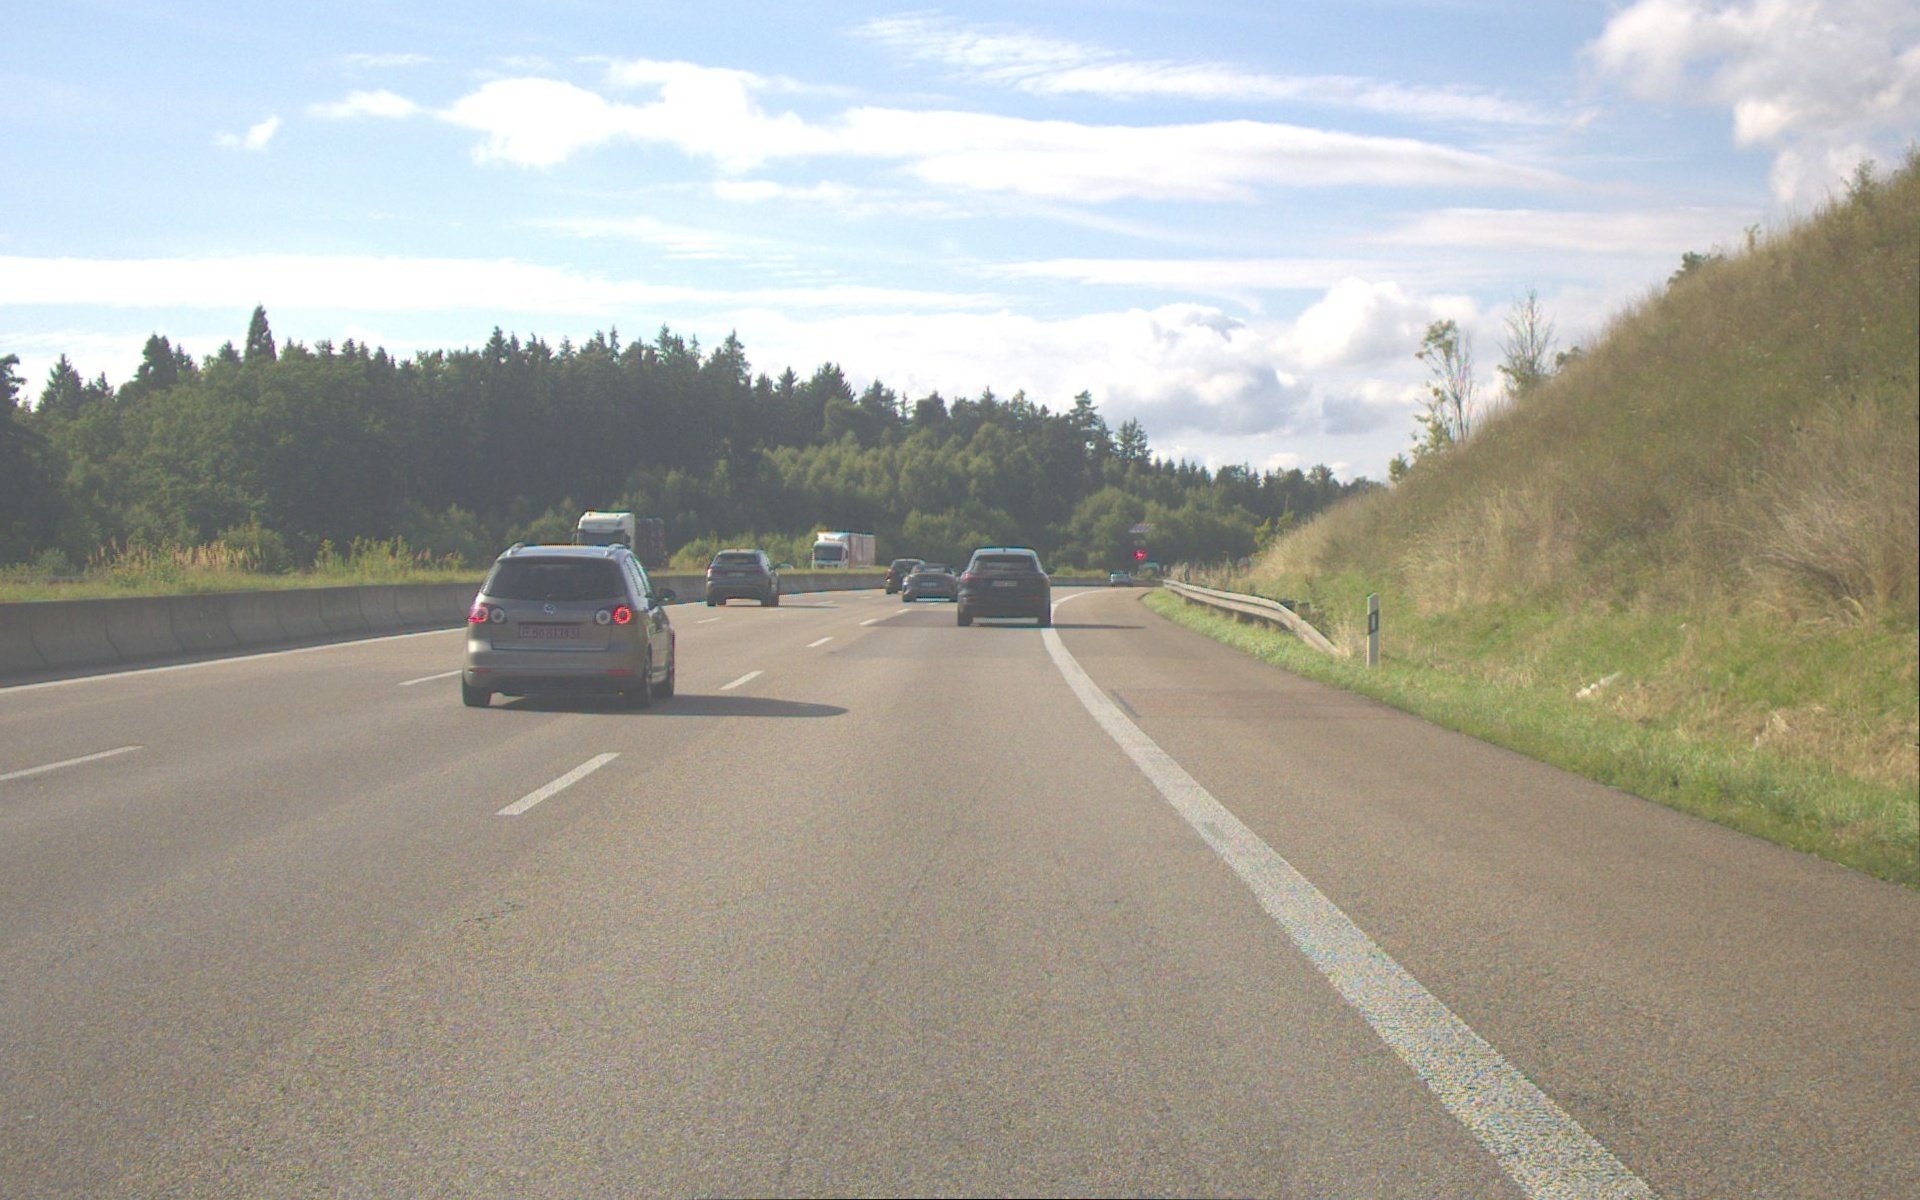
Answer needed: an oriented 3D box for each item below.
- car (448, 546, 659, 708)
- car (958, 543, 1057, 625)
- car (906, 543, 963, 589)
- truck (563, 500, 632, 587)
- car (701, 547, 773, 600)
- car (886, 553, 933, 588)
[{"bbox_3d":[-3.945,0.223,33.844,1.873,1.492,3.880,0,1,-4],"label":"car"},{"bbox_3d":[0.965,-0.354,71.885,1.873,1.669,3.890,1,1,-2],"label":"car"},{"bbox_3d":[-0.849,-1.165,116.704,1.873,1.492,3.880,1,1,0],"label":"car"},{"bbox_3d":[-18.584,-2.877,176.613,2.802,4.377,5.464,0,1,2],"label":"truck"},{"bbox_3d":[-6.478,-0.775,100.240,1.873,1.492,3.880,1,1,-1],"label":"car"},{"bbox_3d":[-2.146,-1.275,147.353,1.873,1.492,3.880,1,1,1],"label":"car"}]
